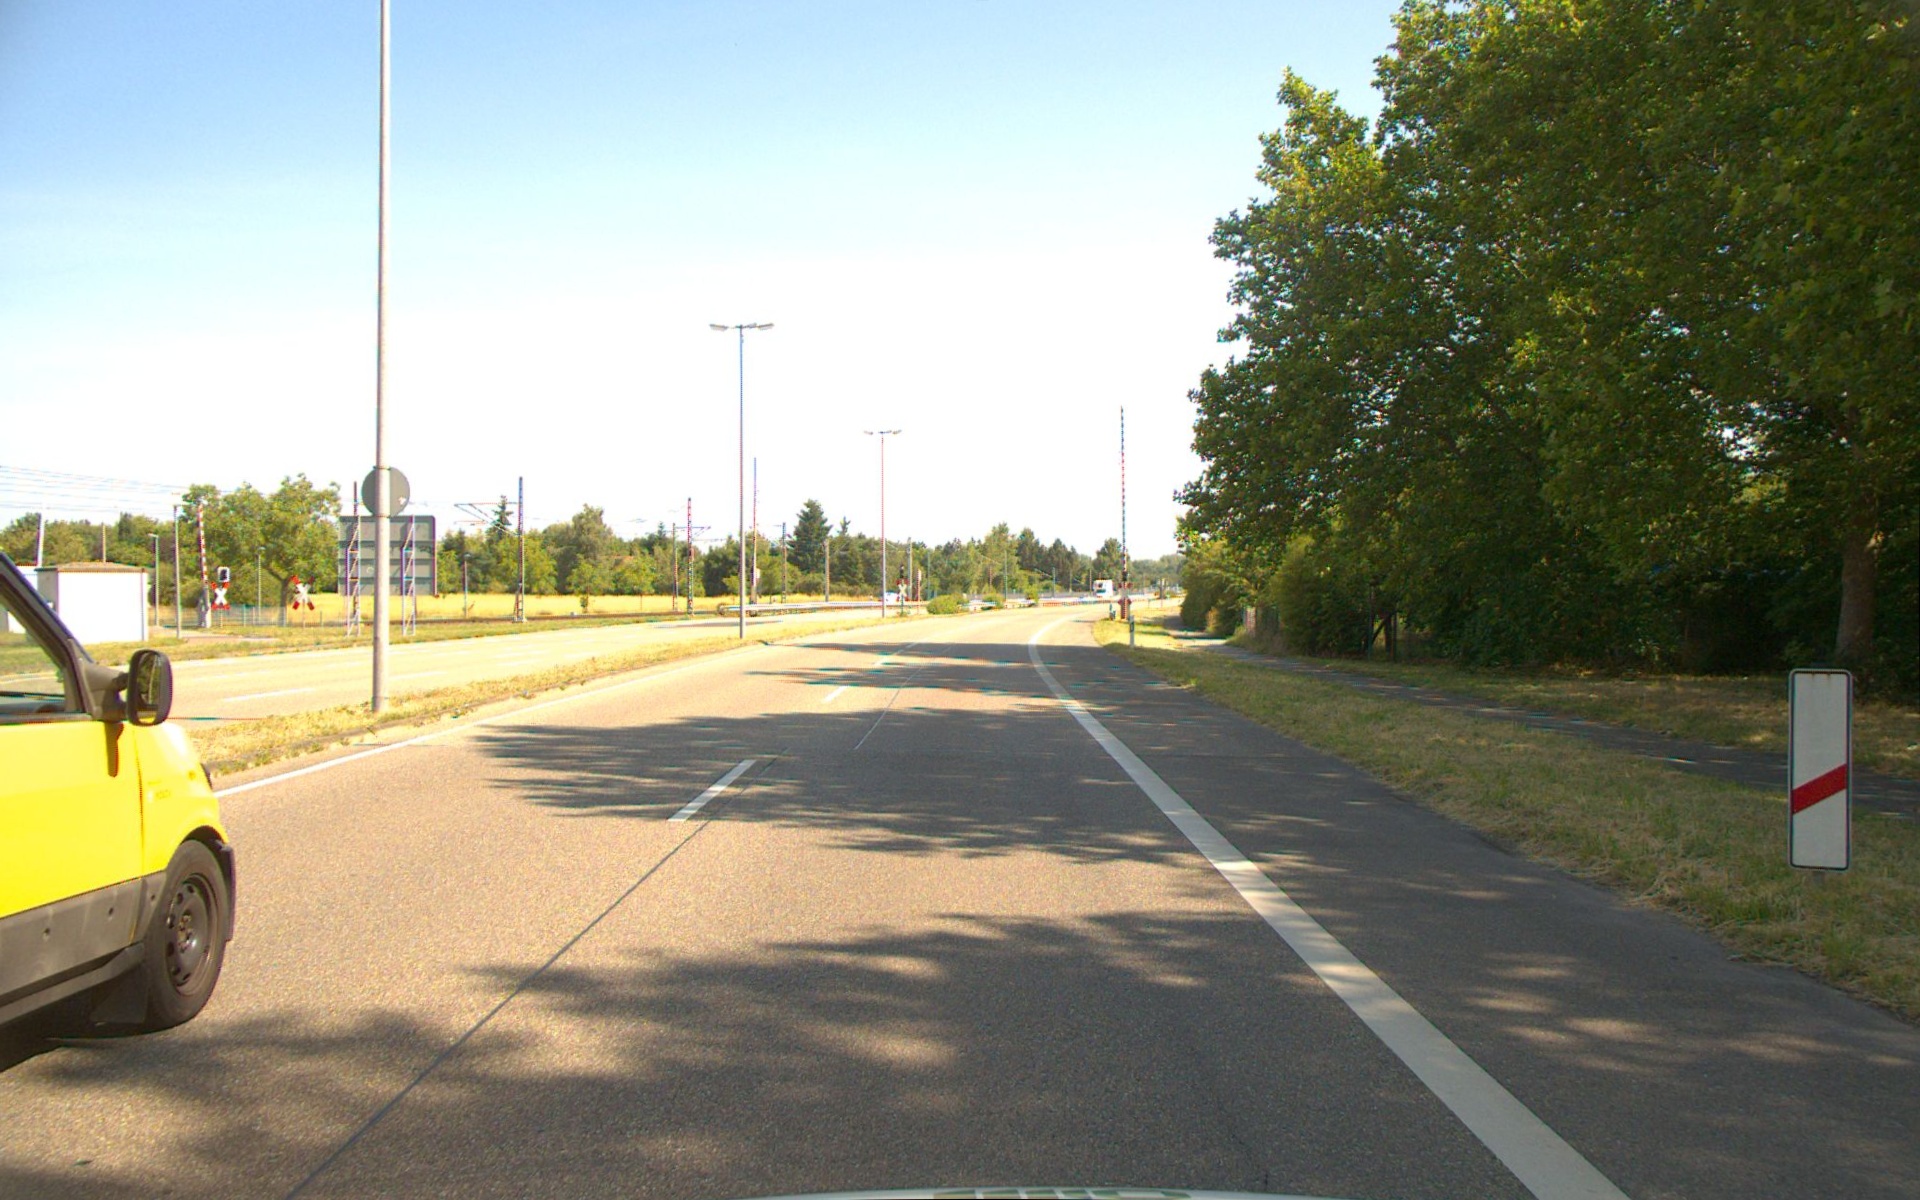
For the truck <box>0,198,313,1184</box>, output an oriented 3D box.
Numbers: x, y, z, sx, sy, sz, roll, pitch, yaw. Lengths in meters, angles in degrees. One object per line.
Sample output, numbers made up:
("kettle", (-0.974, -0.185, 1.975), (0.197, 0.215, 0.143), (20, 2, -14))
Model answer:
("truck", (-3.436, 0.230, 3.414), (2.069, 2.500, 5.914), (0, 0, -2))
